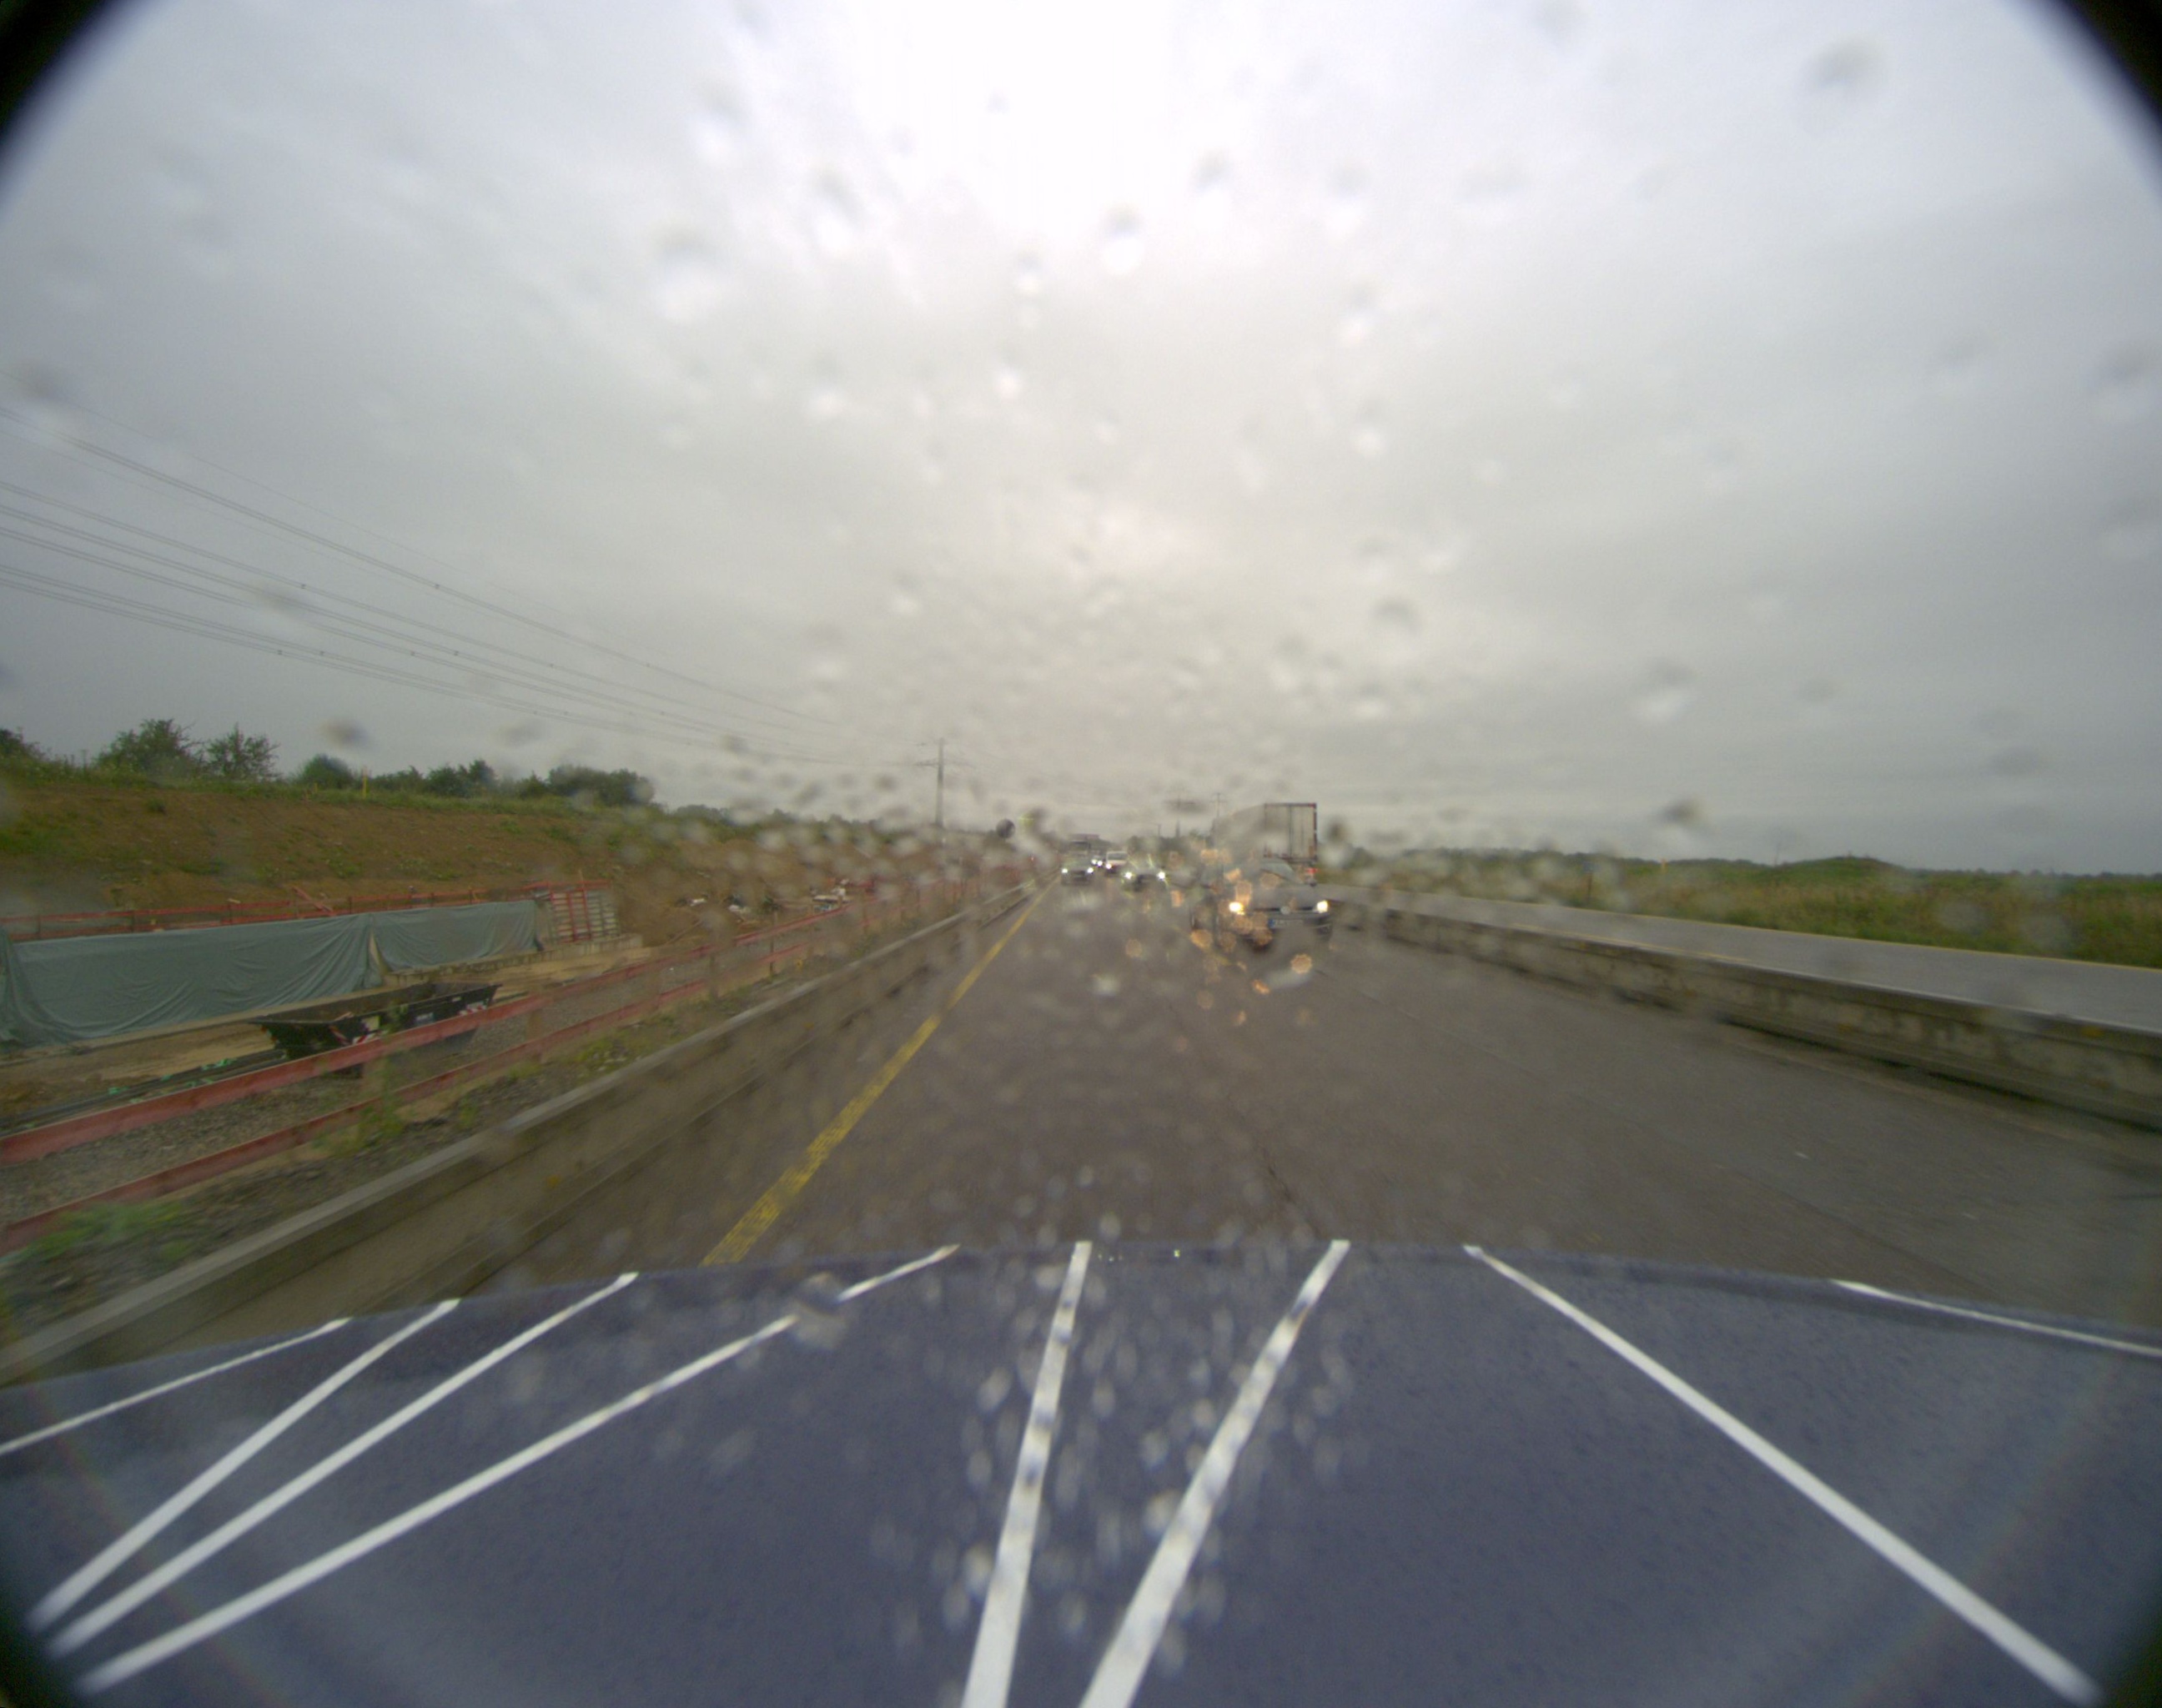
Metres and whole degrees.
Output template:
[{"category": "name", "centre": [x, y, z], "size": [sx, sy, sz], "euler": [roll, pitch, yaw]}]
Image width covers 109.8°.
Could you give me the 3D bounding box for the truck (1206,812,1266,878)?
[{"category": "truck", "centre": [10.301, -0.593, 51.059], "size": [2.793, 4.157, 5.906], "euler": [-1, 0, 0]}]

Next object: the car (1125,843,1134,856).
[{"category": "car", "centre": [10.030, -0.968, 157.822], "size": [1.730, 2.707, 4.091], "euler": [-1, 1, 2]}]

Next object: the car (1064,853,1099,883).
[{"category": "car", "centre": [-0.019, 0.764, 42.321], "size": [1.800, 1.524, 4.307], "euler": [-2, 0, -1]}]

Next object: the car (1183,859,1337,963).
[{"category": "car", "centre": [2.934, 0.865, 13.322], "size": [1.654, 1.414, 4.079], "euler": [-2, 1, -1]}]

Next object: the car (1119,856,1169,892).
[{"category": "car", "centre": [2.720, 0.836, 33.608], "size": [1.799, 1.389, 4.268], "euler": [-2, 1, 0]}]

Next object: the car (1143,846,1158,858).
[{"category": "car", "centre": [9.949, -0.265, 108.840], "size": [1.730, 1.606, 4.090], "euler": [-1, 1, 0]}]

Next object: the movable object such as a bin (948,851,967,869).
[{"category": "movable object such as a bin", "centre": [-19.827, 0.963, 122.254], "size": [2.252, 2.703, 3.999], "euler": [-2, 1, 0]}]

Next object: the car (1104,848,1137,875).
[{"category": "car", "centre": [2.944, 0.508, 57.979], "size": [2.161, 1.848, 5.179], "euler": [-2, 1, 0]}]

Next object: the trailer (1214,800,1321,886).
[{"category": "trailer", "centre": [10.340, -0.552, 44.099], "size": [2.793, 4.175, 13.673], "euler": [-1, 0, 0]}]

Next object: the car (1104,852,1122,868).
[{"category": "car", "centre": [3.514, 0.638, 83.494], "size": [1.799, 1.521, 4.068], "euler": [-2, 1, 3]}]

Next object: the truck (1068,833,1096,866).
[{"category": "truck", "centre": [0.209, -0.572, 89.511], "size": [2.836, 3.617, 9.120], "euler": [-2, 1, 2]}]

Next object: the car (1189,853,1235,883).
[{"category": "car", "centre": [6.856, 0.701, 40.167], "size": [1.723, 1.412, 4.090], "euler": [-1, 1, 0]}]

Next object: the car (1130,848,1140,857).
[{"category": "car", "centre": [10.049, -0.219, 141.546], "size": [1.730, 1.606, 4.090], "euler": [-1, 1, 1]}]

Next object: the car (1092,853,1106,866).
[{"category": "car", "centre": [2.683, 0.863, 114.876], "size": [1.800, 1.850, 4.286], "euler": [-2, 1, -1]}]
